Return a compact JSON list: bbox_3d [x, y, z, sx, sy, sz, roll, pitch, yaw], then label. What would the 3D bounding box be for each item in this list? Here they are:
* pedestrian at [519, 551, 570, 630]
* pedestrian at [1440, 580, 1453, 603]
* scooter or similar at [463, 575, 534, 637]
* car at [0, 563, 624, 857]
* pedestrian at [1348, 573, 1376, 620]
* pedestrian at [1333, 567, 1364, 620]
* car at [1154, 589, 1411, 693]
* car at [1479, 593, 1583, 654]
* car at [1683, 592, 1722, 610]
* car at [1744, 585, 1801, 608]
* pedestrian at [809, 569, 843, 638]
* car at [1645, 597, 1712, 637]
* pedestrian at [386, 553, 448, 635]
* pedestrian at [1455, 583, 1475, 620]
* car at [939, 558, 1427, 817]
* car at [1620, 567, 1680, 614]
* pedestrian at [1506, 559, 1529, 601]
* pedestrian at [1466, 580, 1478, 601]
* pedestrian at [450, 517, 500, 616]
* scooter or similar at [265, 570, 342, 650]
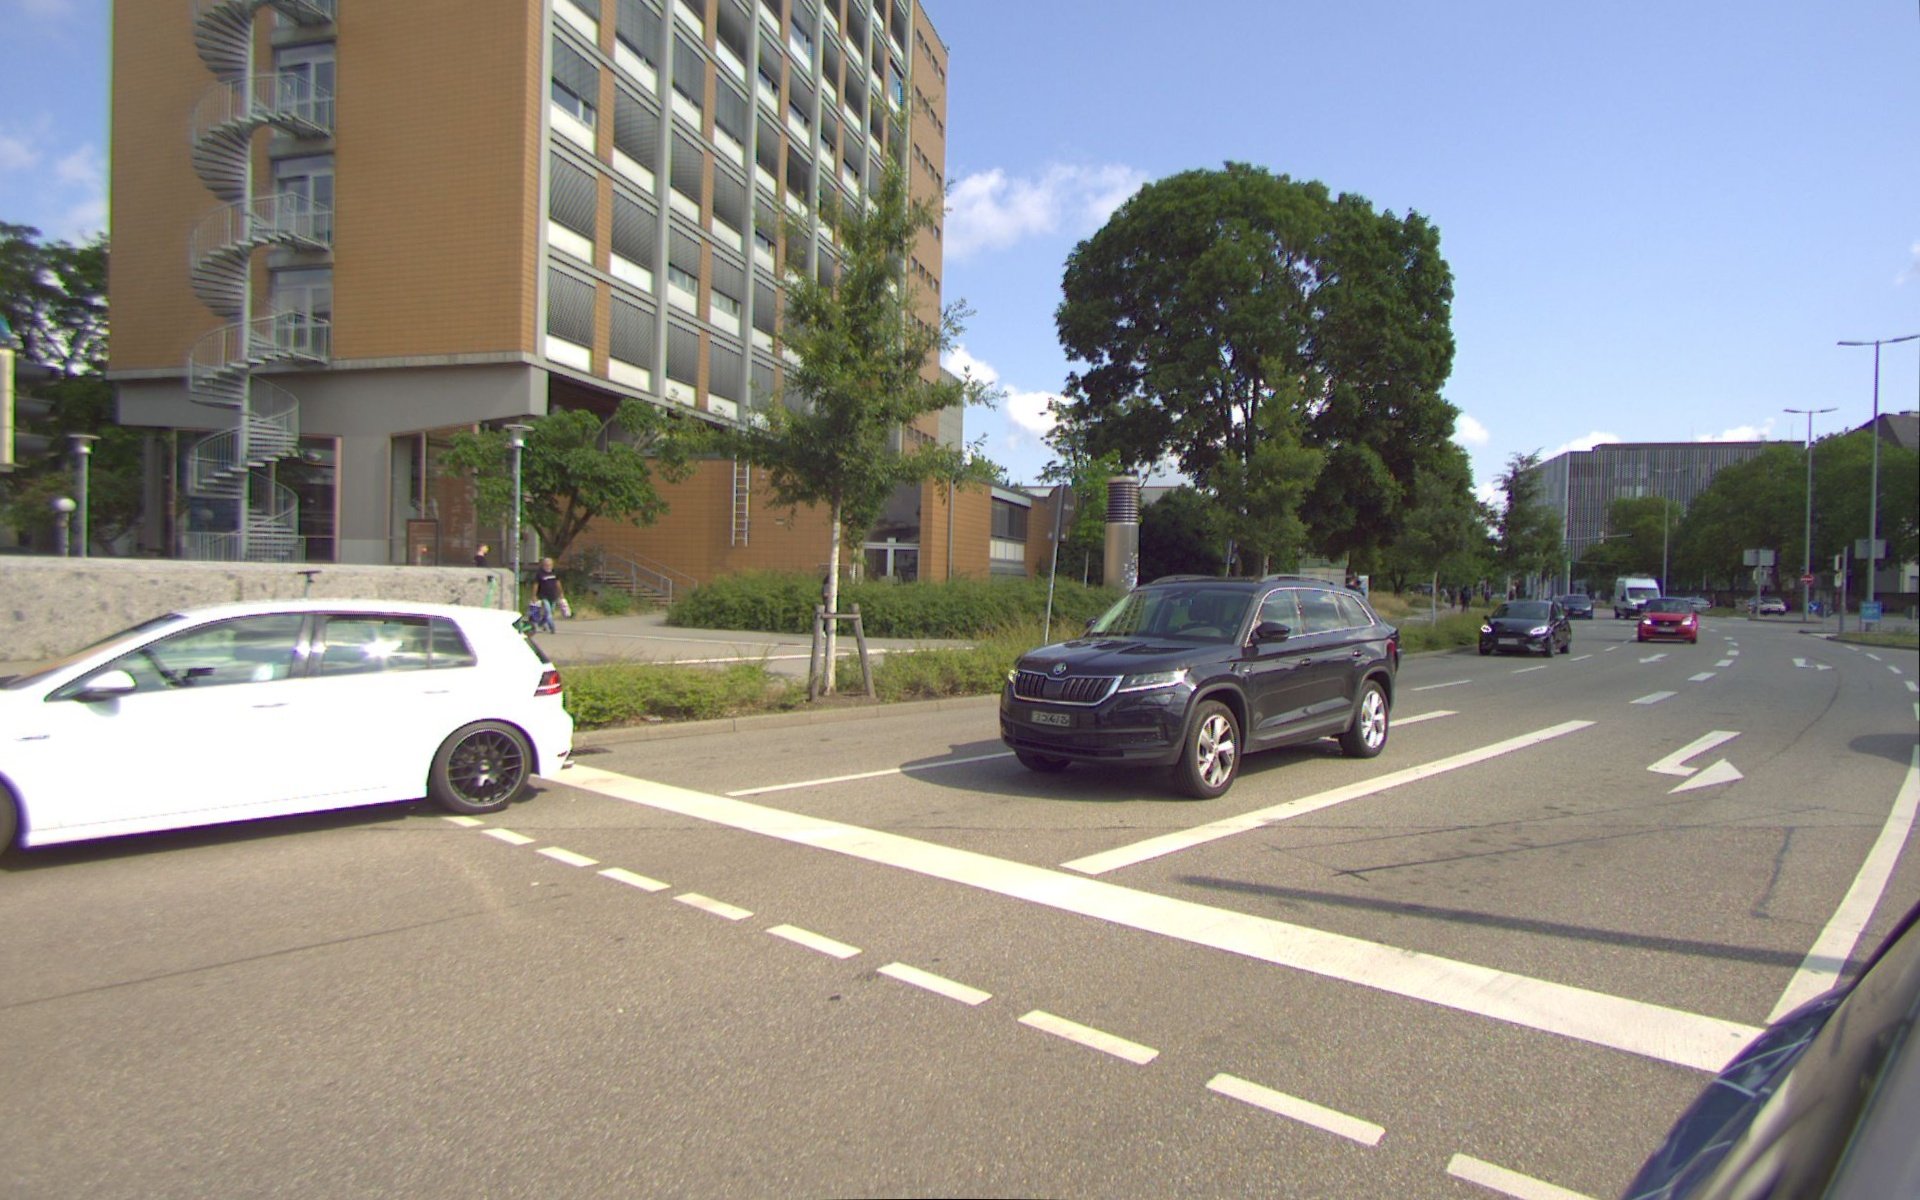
[{"bbox_3d":[-8.819,-0.198,21.458,0.751,1.607,0.773,2,3,-38],"label":"pedestrian"},{"bbox_3d":[44.230,-0.802,92.046,0.979,2.039,1.118,1,1,29],"label":"pedestrian"},{"bbox_3d":[-8.904,0.105,19.532,1.163,1.144,0.404,2,1,-5],"label":"scooter or similar"},{"bbox_3d":[-4.504,0.598,6.455,4.160,1.465,1.680,2,-3,-43],"label":"car"},{"bbox_3d":[15.691,-0.149,39.499,0.634,1.766,0.671,0,5,-44],"label":"pedestrian"},{"bbox_3d":[14.296,-0.248,37.223,0.634,1.893,0.759,0,4,-44],"label":"pedestrian"},{"bbox_3d":[5.316,0.603,16.387,4.431,1.415,1.997,1,0,-42],"label":"car"},{"bbox_3d":[15.443,0.570,27.275,1.707,1.472,3.942,3,2,40],"label":"car"},{"bbox_3d":[70.976,0.067,96.783,1.938,1.507,5.059,2,2,24],"label":"car"},{"bbox_3d":[61.672,-0.281,76.896,1.974,1.705,4.317,0,1,18],"label":"car"},{"bbox_3d":[-3.095,0.067,23.314,0.570,1.539,0.479,0,3,-40],"label":"pedestrian"},{"bbox_3d":[24.848,0.564,34.965,1.603,1.229,2.966,0,2,41],"label":"car"},{"bbox_3d":[-11.292,-0.130,21.064,0.919,1.607,0.767,3,3,-14],"label":"pedestrian"},{"bbox_3d":[28.076,0.067,56.262,0.978,2.039,1.118,0,0,29],"label":"pedestrian"},{"bbox_3d":[2.172,0.519,8.921,4.606,1.689,1.995,-1,2,-44],"label":"car"},{"bbox_3d":[45.086,-0.627,66.279,2.463,2.915,6.090,1,1,28],"label":"car"},{"bbox_3d":[27.148,-0.965,49.314,0.978,2.039,1.118,0,0,29],"label":"pedestrian"},{"bbox_3d":[50.184,-0.970,99.228,0.978,2.039,1.119,1,1,29],"label":"pedestrian"},{"bbox_3d":[-10.256,-0.711,21.399,0.793,2.037,0.724,0,4,-40],"label":"pedestrian"},{"bbox_3d":[-10.523,0.143,16.209,1.172,1.211,0.401,3,2,20],"label":"scooter or similar"}]
